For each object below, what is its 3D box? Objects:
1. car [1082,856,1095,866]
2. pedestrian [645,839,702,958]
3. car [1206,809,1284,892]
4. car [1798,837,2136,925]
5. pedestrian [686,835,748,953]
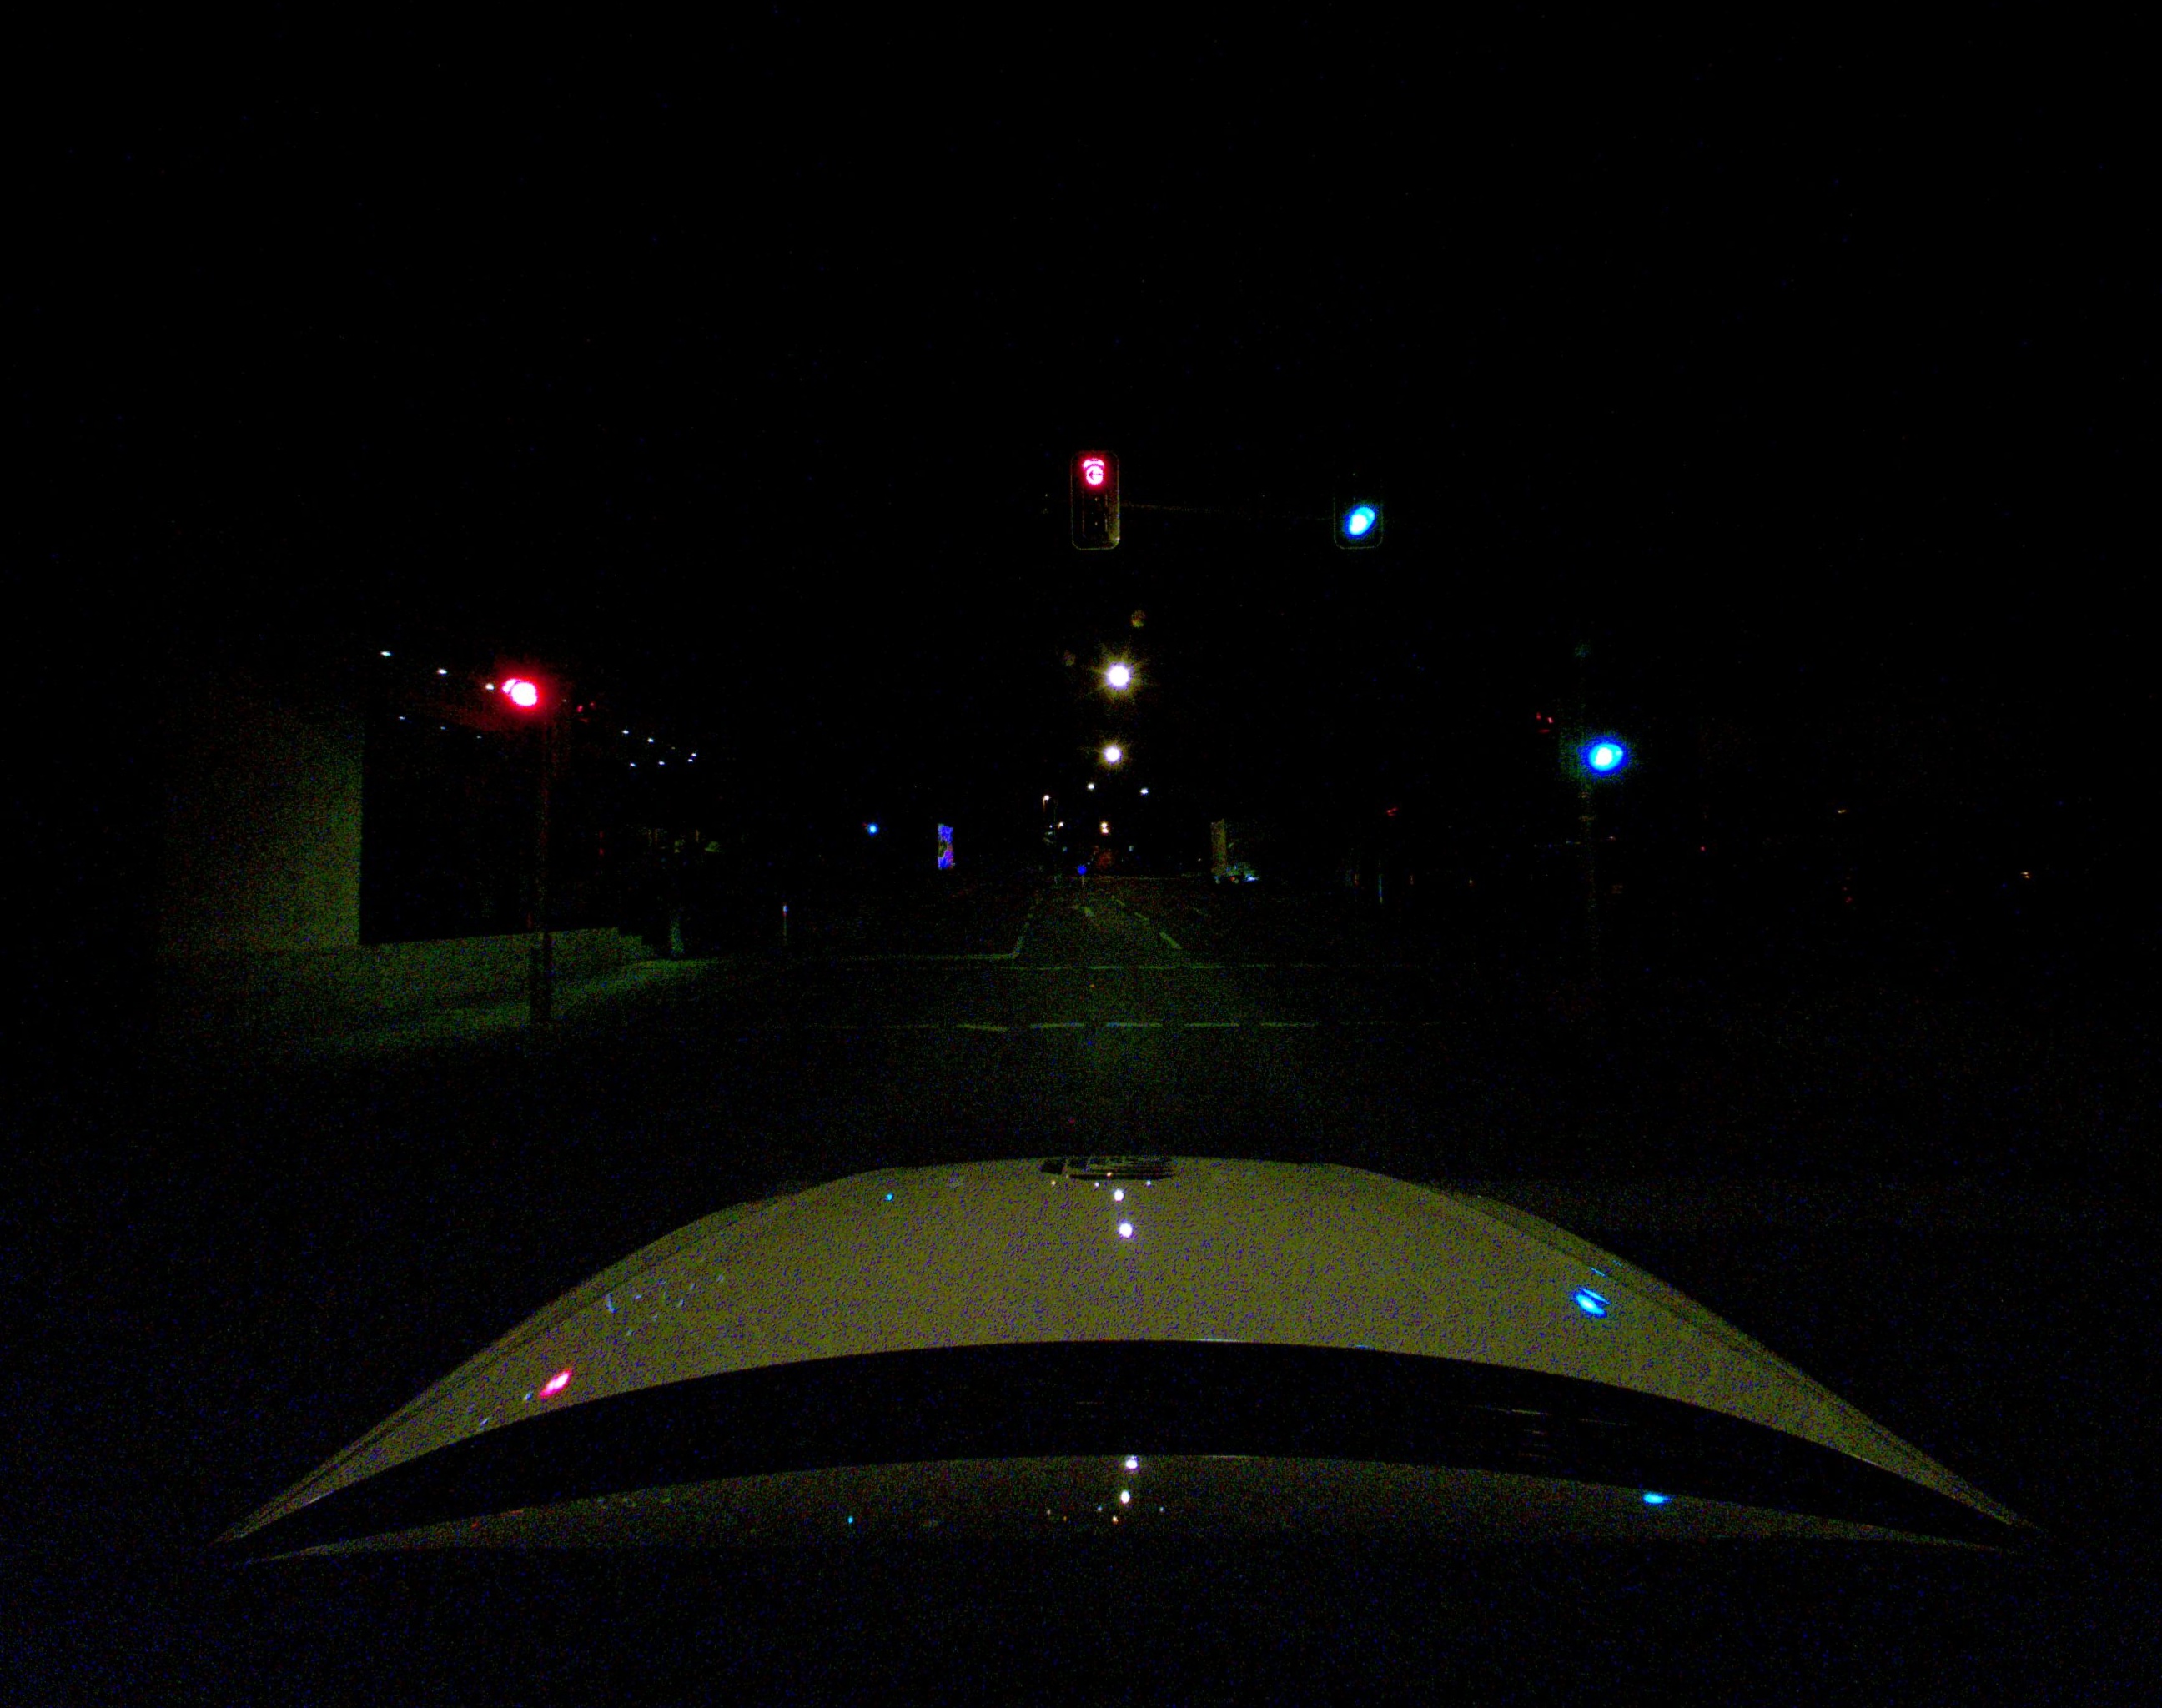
[{"bbox_3d":[1.257,1.165,134.558,1.901,1.557,3.906,0,-1,2],"label":"car"},{"bbox_3d":[-6.075,0.646,12.161,0.568,1.731,0.544,0,-1,1],"label":"pedestrian"},{"bbox_3d":[6.765,-0.105,34.277,2.287,3.093,5.845,-2,-1,3],"label":"car"},{"bbox_3d":[17.455,0.562,16.286,4.342,1.560,1.807,-2,-3,8],"label":"car"},{"bbox_3d":[-5.704,0.614,12.793,0.568,1.778,0.737,1,-1,1],"label":"pedestrian"}]
